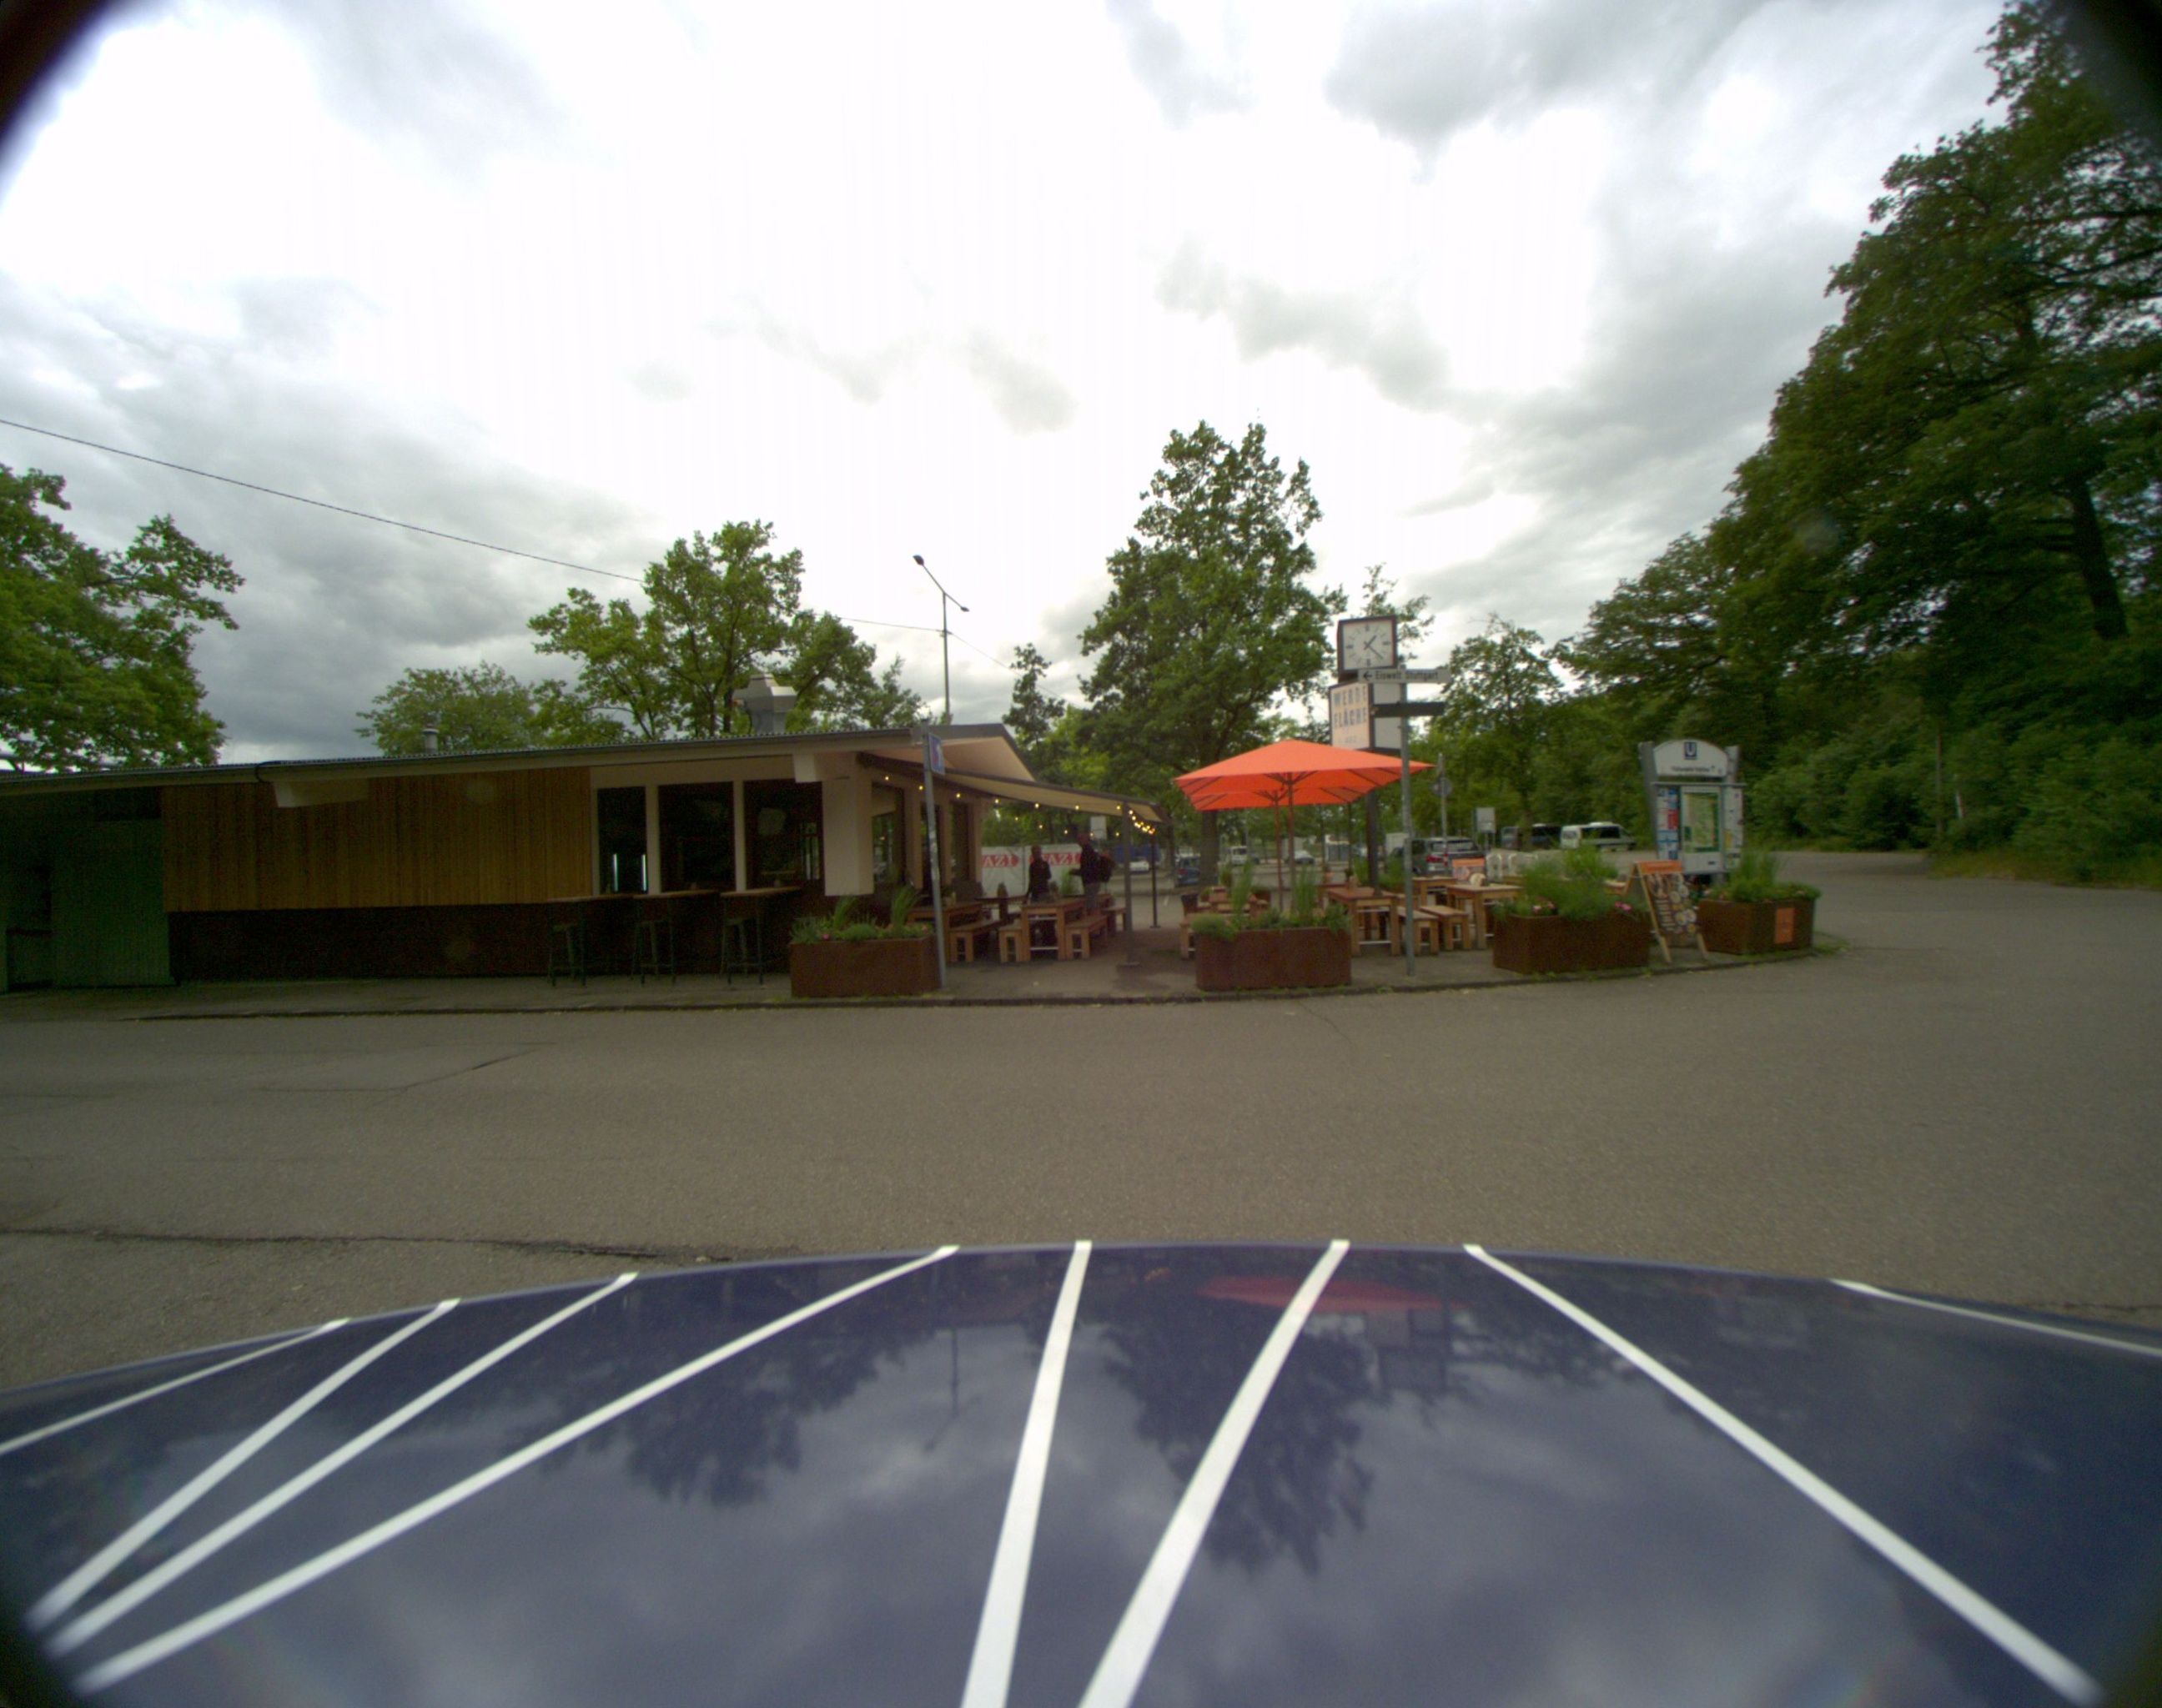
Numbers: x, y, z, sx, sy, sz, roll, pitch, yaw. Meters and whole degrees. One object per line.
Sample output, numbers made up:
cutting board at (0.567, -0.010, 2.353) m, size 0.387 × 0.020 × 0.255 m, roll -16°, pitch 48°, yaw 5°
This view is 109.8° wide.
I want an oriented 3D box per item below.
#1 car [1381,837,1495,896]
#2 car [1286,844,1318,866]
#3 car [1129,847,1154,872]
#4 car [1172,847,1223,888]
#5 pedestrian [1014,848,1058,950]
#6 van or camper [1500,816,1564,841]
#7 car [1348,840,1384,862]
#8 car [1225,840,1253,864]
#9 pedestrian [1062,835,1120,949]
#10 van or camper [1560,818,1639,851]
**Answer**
car at (11.285, 0.363, 24.349) m, size 1.933 × 1.660 × 4.347 m, roll -2°, pitch 0°, yaw 6°
car at (19.830, 0.087, 68.328) m, size 1.875 × 1.769 × 4.297 m, roll -2°, pitch 0°, yaw 5°
car at (5.117, 0.473, 64.401) m, size 1.998 × 2.002 × 4.001 m, roll -2°, pitch 0°, yaw 5°
car at (4.944, 0.532, 32.497) m, size 1.997 × 1.543 × 4.002 m, roll -2°, pitch 0°, yaw 8°
pedestrian at (-0.744, 0.746, 12.786) m, size 0.530 × 1.657 × 0.596 m, roll -2°, pitch 1°, yaw 12°
van or camper at (56.457, -3.174, 95.048) m, size 7.343 × 2.833 × 2.201 m, roll -3°, pitch 1°, yaw -14°
car at (25.371, -0.253, 67.780) m, size 1.875 × 1.769 × 4.297 m, roll -2°, pitch 0°, yaw 5°
car at (14.330, -0.190, 69.231) m, size 1.875 × 2.027 × 4.592 m, roll -2°, pitch 0°, yaw 5°
pedestrian at (0.180, 0.610, 12.594) m, size 0.748 × 1.820 × 0.711 m, roll -2°, pitch 1°, yaw 13°
van or camper at (49.384, -1.850, 72.356) m, size 7.345 × 2.833 × 2.065 m, roll -3°, pitch 1°, yaw -19°
